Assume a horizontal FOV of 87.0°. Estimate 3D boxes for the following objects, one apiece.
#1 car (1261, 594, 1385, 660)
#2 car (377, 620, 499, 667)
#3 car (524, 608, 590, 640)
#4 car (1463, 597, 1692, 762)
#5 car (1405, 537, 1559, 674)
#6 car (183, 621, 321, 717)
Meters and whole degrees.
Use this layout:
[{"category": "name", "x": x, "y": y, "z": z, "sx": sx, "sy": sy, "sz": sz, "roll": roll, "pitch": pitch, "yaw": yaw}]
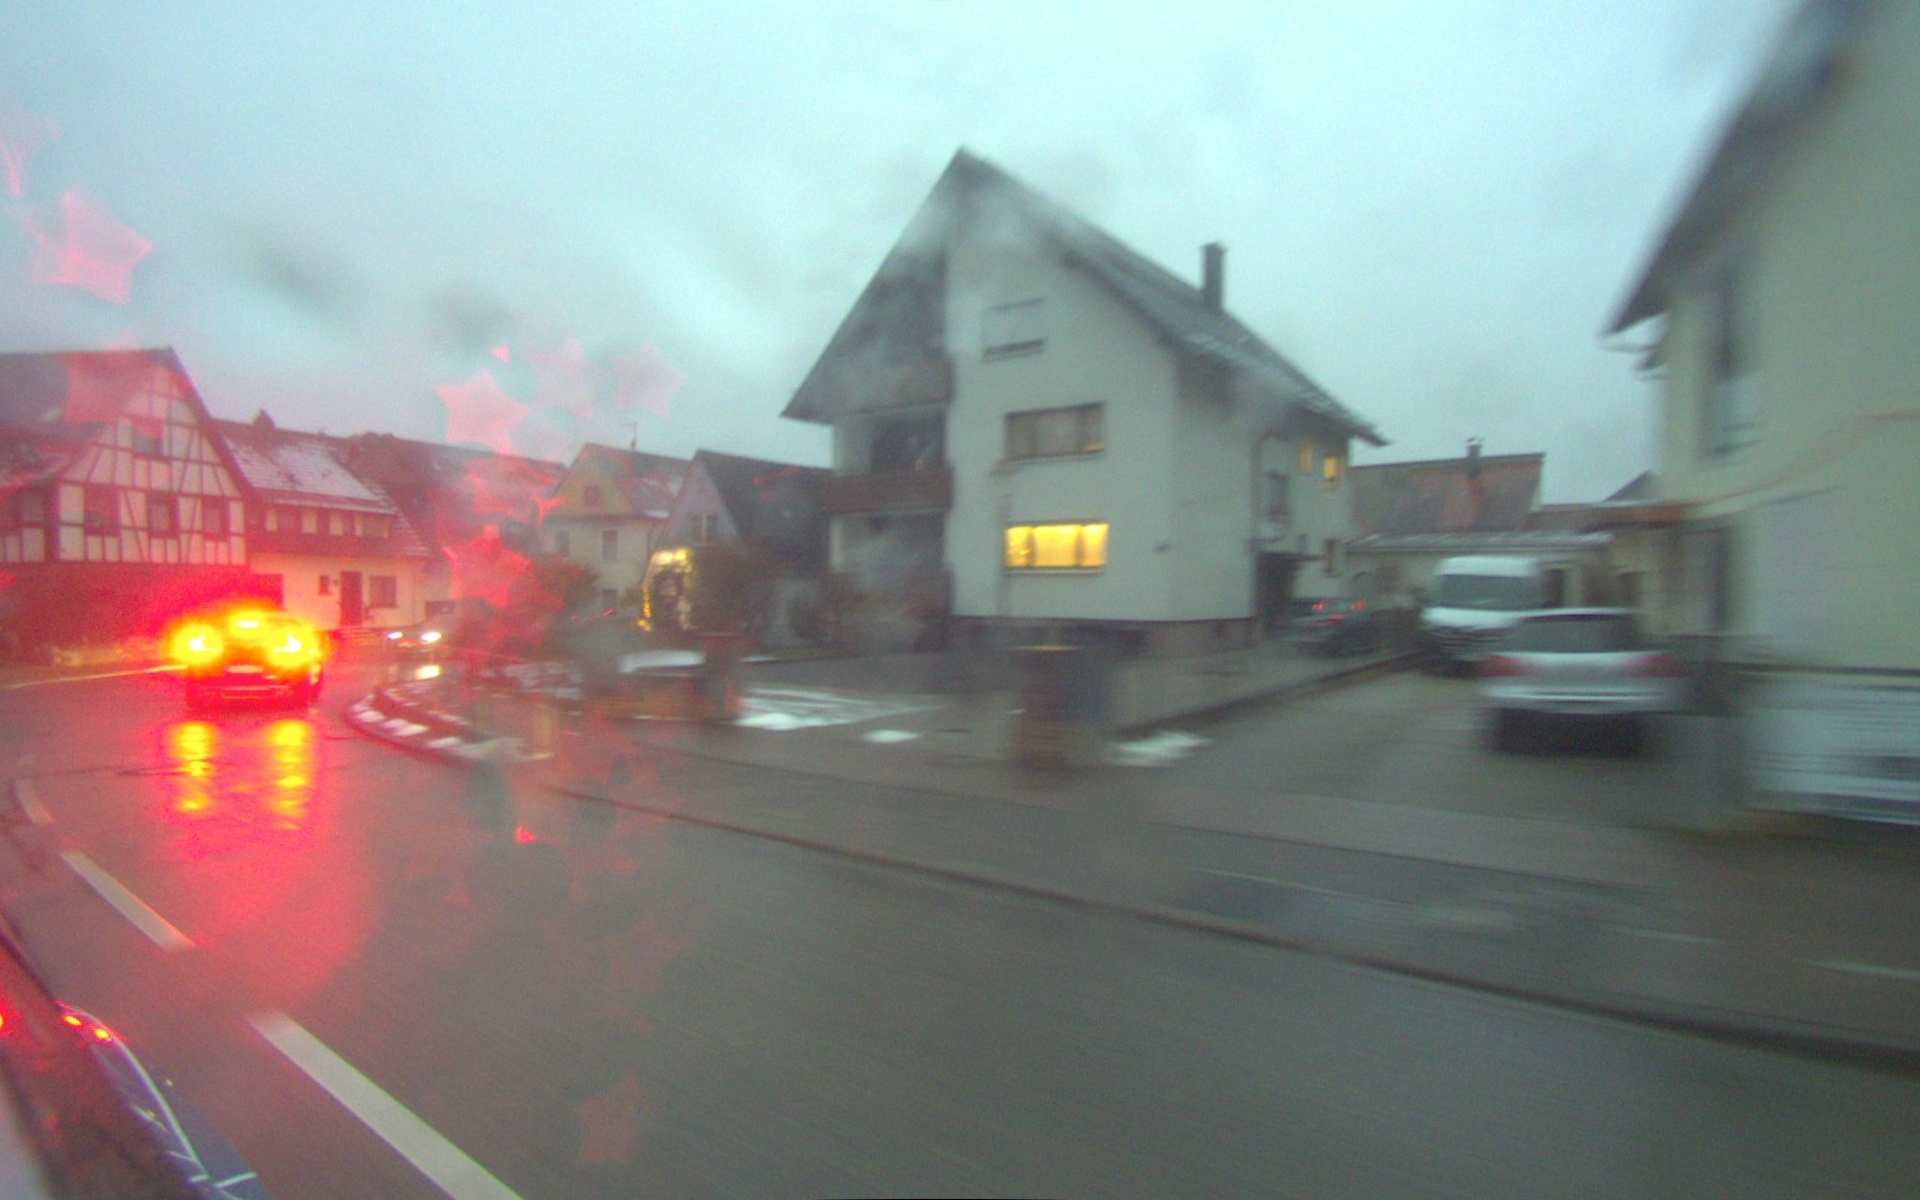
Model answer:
[{"category": "car", "x": 9.152, "y": 0.634, "z": 25.317, "sx": 1.817, "sy": 1.498, "sz": 3.950, "roll": -1, "pitch": 0, "yaw": 37}, {"category": "car", "x": -19.243, "y": 1.581, "z": 37.545, "sx": 1.978, "sy": 1.590, "sz": 4.145, "roll": -1, "pitch": -1, "yaw": 9}, {"category": "car", "x": -22.090, "y": 1.300, "z": 55.472, "sx": 3.481, "sy": 1.517, "sz": 1.631, "roll": 3, "pitch": 1, "yaw": 33}, {"category": "car", "x": 6.812, "y": 0.724, "z": 11.240, "sx": 1.814, "sy": 1.473, "sz": 3.957, "roll": -1, "pitch": 0, "yaw": 32}, {"category": "car", "x": 11.335, "y": 0.105, "z": 21.734, "sx": 2.208, "sy": 2.559, "sz": 5.290, "roll": -1, "pitch": 0, "yaw": 35}, {"category": "car", "x": -13.618, "y": 1.227, "z": 19.709, "sx": 1.851, "sy": 1.625, "sz": 4.616, "roll": 1, "pitch": -1, "yaw": -31}]
